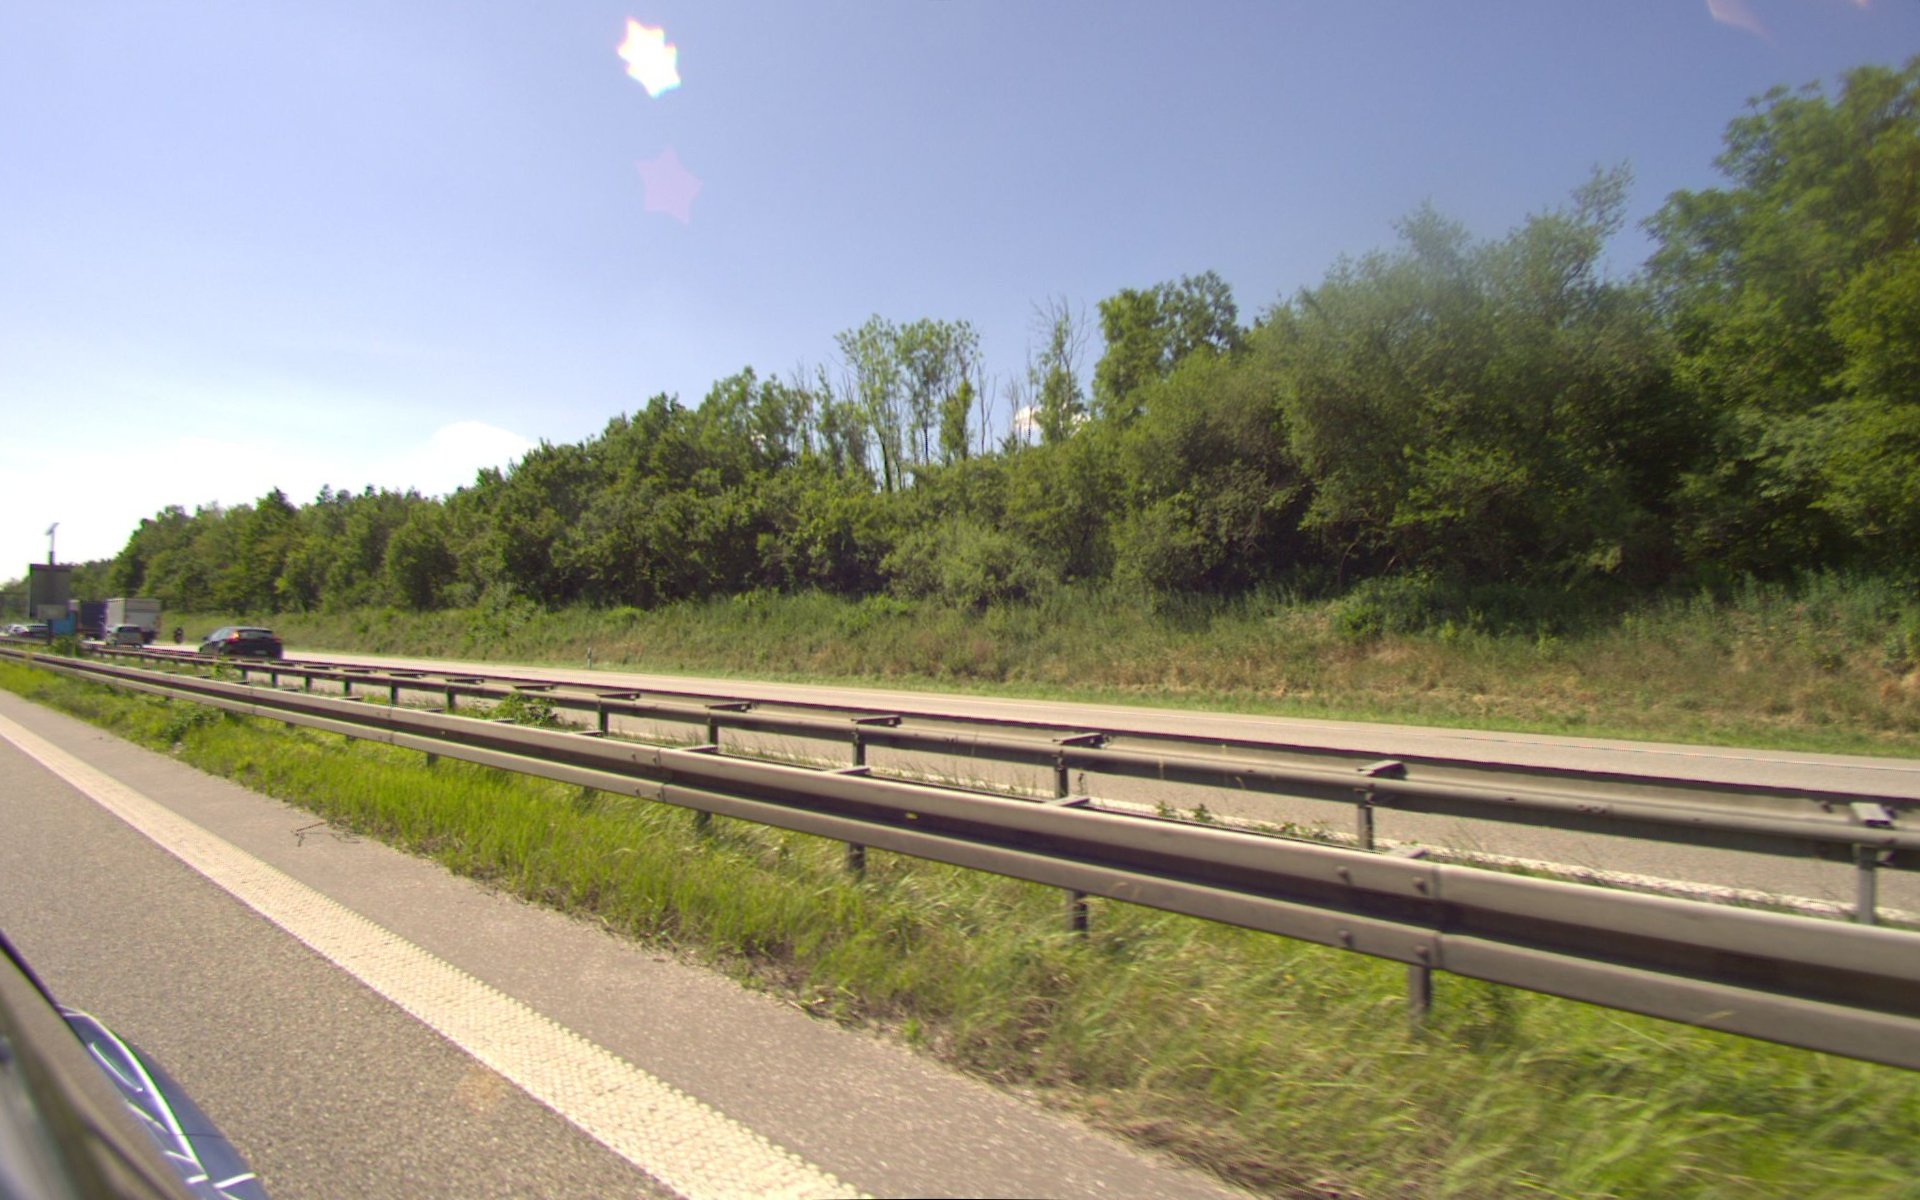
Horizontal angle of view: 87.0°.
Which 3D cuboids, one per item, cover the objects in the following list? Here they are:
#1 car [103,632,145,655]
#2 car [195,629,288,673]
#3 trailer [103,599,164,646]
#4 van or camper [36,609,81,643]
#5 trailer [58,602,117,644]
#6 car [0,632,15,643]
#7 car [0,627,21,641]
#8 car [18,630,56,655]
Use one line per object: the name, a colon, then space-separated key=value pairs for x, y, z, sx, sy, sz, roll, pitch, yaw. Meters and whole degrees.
car: x=-56.908 y=2.945 z=68.896 sx=3.543 sy=1.507 sz=1.657 roll=-1 pitch=-3 yaw=41
car: x=-24.841 y=1.726 z=34.945 sx=4.147 sy=1.409 sz=1.695 roll=-1 pitch=-3 yaw=41
trailer: x=-70.938 y=1.983 z=86.810 sx=7.689 sy=3.838 sz=2.683 roll=-2 pitch=-4 yaw=42
van or camper: x=-80.379 y=2.354 z=90.216 sx=6.796 sy=2.833 sz=2.173 roll=-2 pitch=-5 yaw=42
trailer: x=-91.821 y=2.459 z=106.404 sx=14.163 sy=4.089 sz=2.587 roll=-2 pitch=-5 yaw=42
car: x=-153.026 y=5.997 z=162.371 sx=4.367 sy=1.580 sz=1.578 roll=-2 pitch=-5 yaw=41
car: x=-104.446 y=3.708 z=110.933 sx=4.502 sy=1.429 sz=1.695 roll=-1 pitch=-3 yaw=42
car: x=-59.729 y=2.731 z=65.453 sx=3.456 sy=1.540 sz=1.418 roll=-1 pitch=-3 yaw=41
